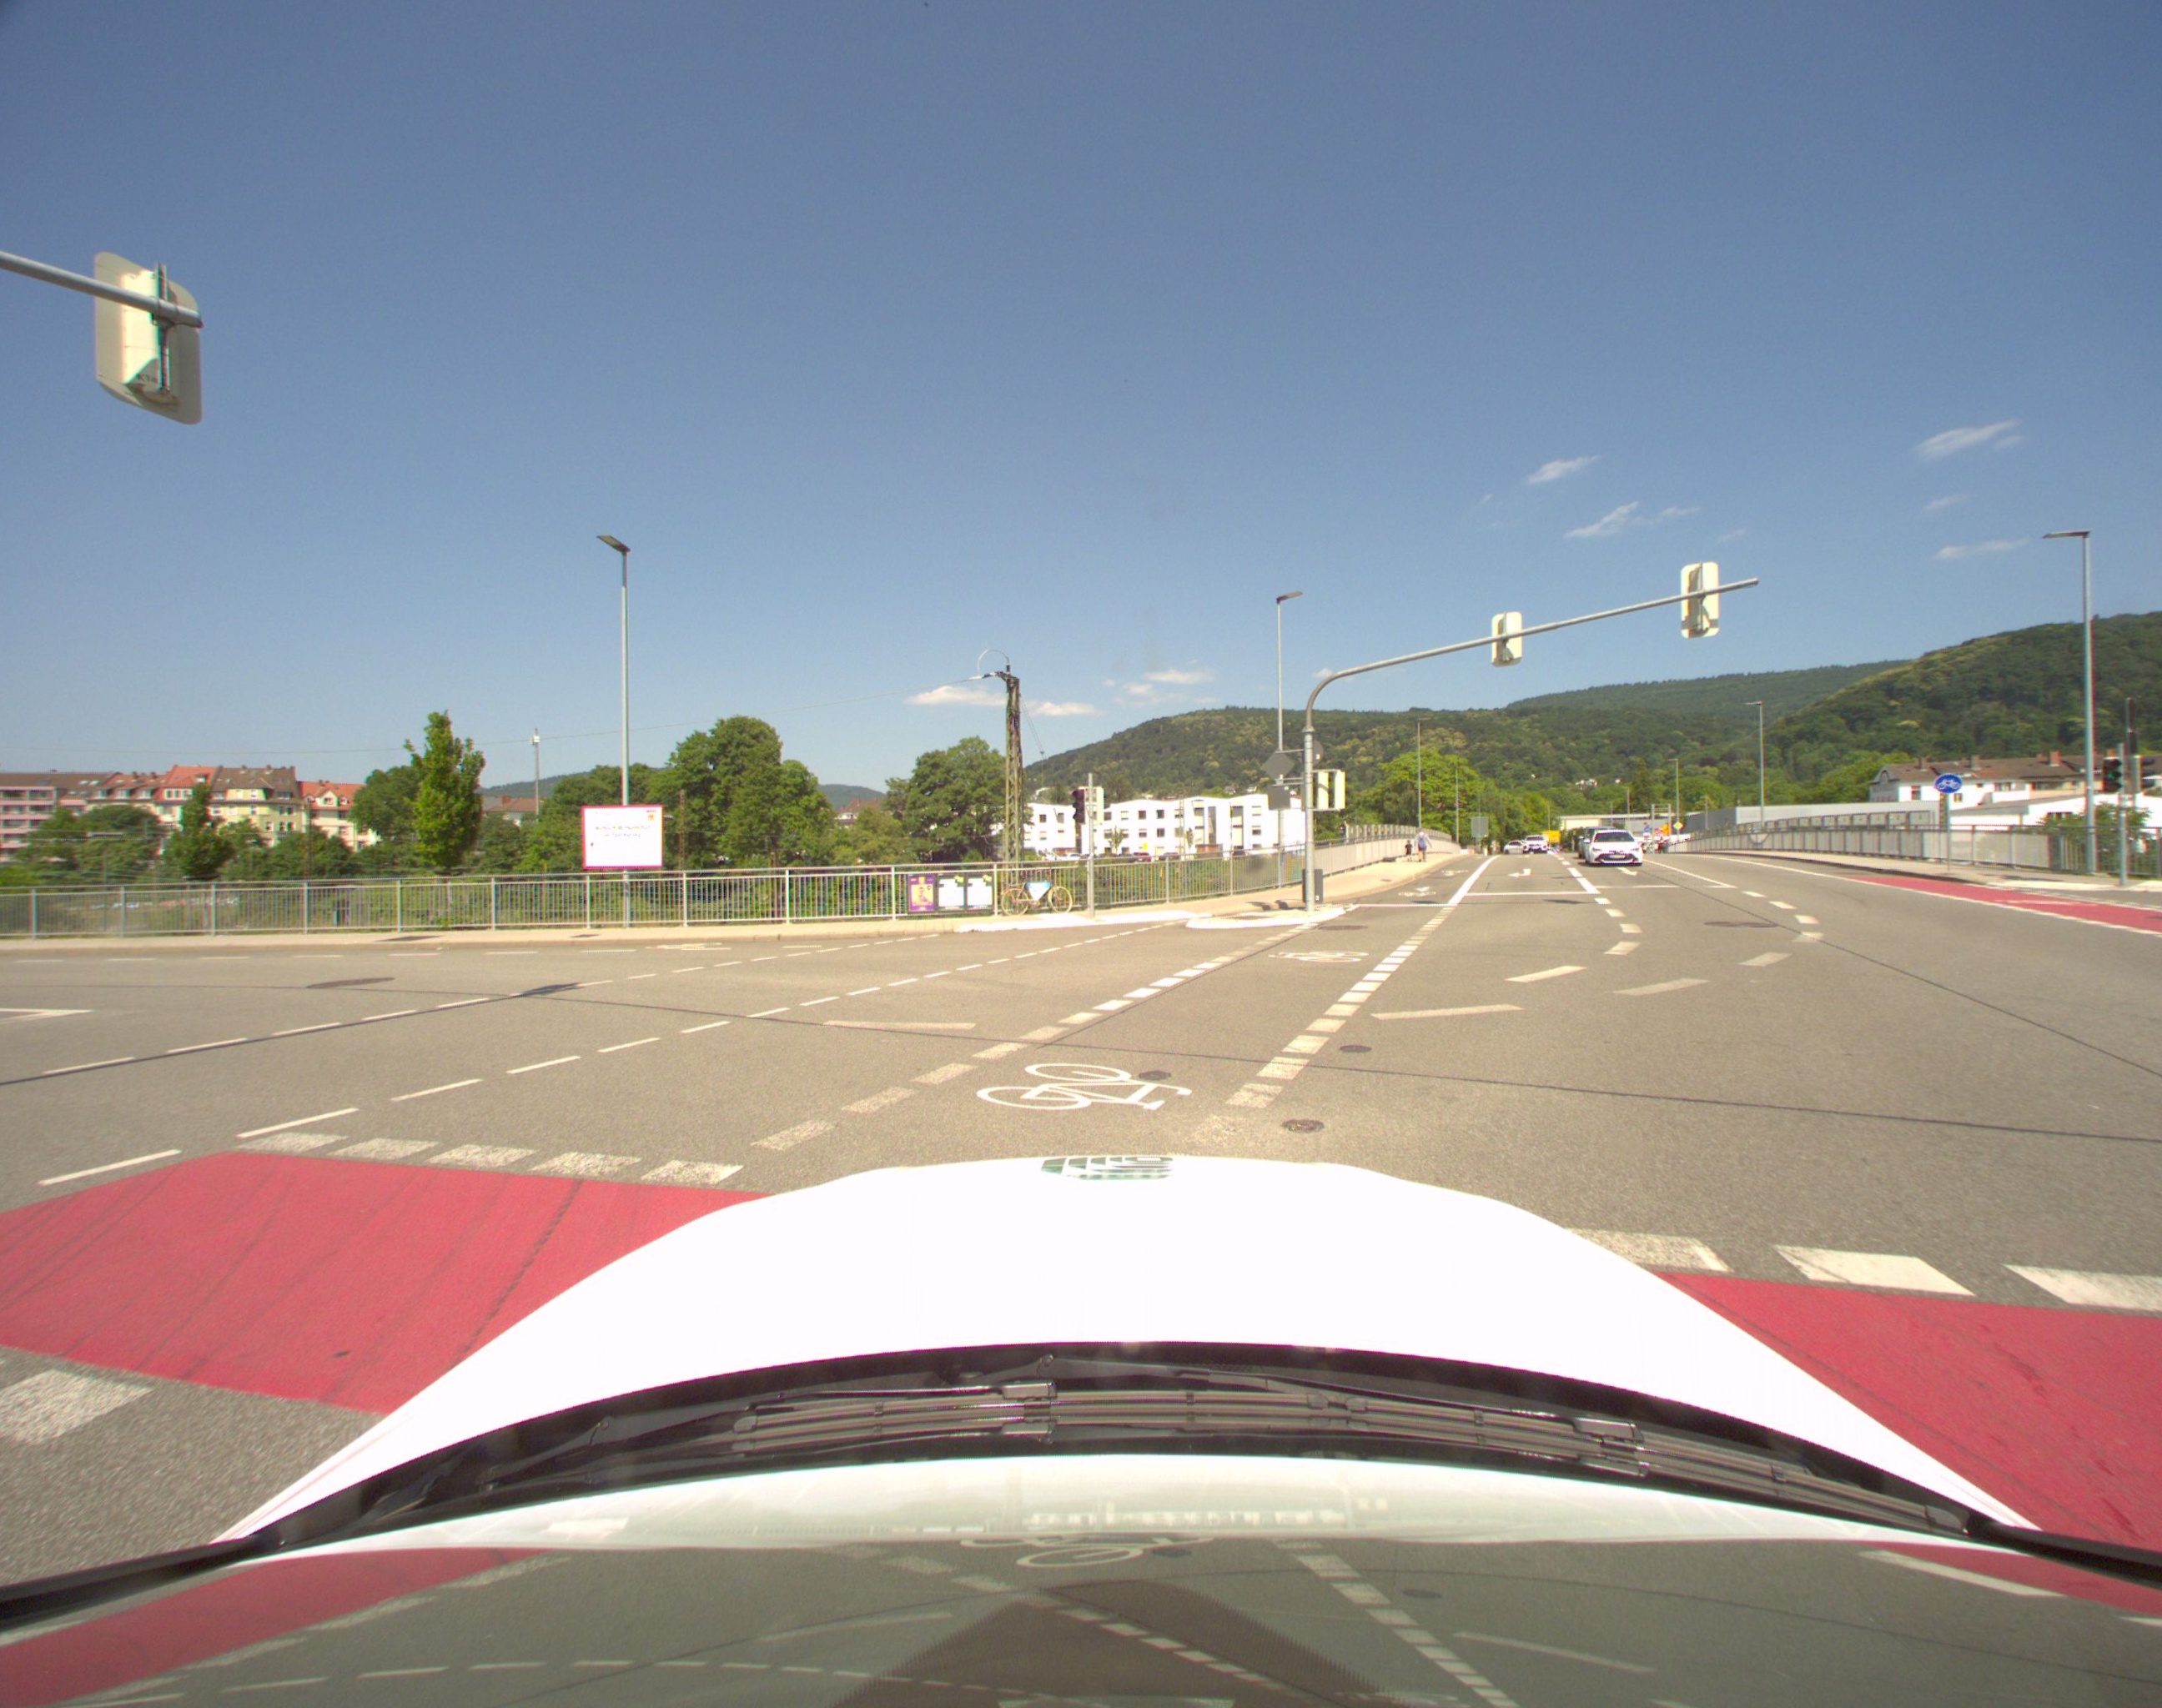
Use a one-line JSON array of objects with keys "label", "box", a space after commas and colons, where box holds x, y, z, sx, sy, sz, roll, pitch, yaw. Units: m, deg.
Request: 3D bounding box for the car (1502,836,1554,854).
[{"label": "car", "box": [45.625, -0.902, 83.314, 1.994, 1.719, 5.045, -1, 1, -10]}]

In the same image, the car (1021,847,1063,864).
[{"label": "car", "box": [-4.887, 0.167, 103.206, 4.944, 2.112, 2.006, -1, 0, 9]}]

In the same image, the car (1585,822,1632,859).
[{"label": "car", "box": [25.072, -0.636, 38.805, 1.714, 1.626, 4.471, -1, 1, 31]}]

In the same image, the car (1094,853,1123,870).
[{"label": "car", "box": [3.565, 0.955, 103.981, 1.975, 2.013, 4.497, -1, 1, 27]}]

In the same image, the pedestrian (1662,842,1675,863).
[{"label": "pedestrian", "box": [56.982, -0.136, 79.028, 0.847, 2.013, 1.162, -1, 0, 29]}]

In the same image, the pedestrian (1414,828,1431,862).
[{"label": "pedestrian", "box": [16.471, -0.453, 39.298, 0.637, 1.617, 0.926, -1, 0, 28]}]

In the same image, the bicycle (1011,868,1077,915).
[{"label": "bicycle", "box": [-0.915, 0.923, 20.278, 1.621, 1.100, 0.296, -1, 0, -22]}]

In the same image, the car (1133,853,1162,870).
[{"label": "car", "box": [8.350, 0.885, 101.604, 1.975, 2.013, 4.497, -1, 1, 27]}]

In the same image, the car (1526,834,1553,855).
[{"label": "car", "box": [39.392, -0.831, 70.062, 1.975, 1.719, 4.662, -1, 1, 29]}]

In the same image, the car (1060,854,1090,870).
[{"label": "car", "box": [-0.766, 0.997, 108.089, 1.975, 2.013, 4.497, -1, 1, 27]}]

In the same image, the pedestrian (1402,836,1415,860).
[{"label": "pedestrian", "box": [15.886, -0.294, 39.468, 0.506, 1.121, 0.479, -1, 0, 28]}]

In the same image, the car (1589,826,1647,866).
[{"label": "car", "box": [21.490, -0.330, 32.722, 1.714, 1.469, 4.438, -1, 1, 31]}]
